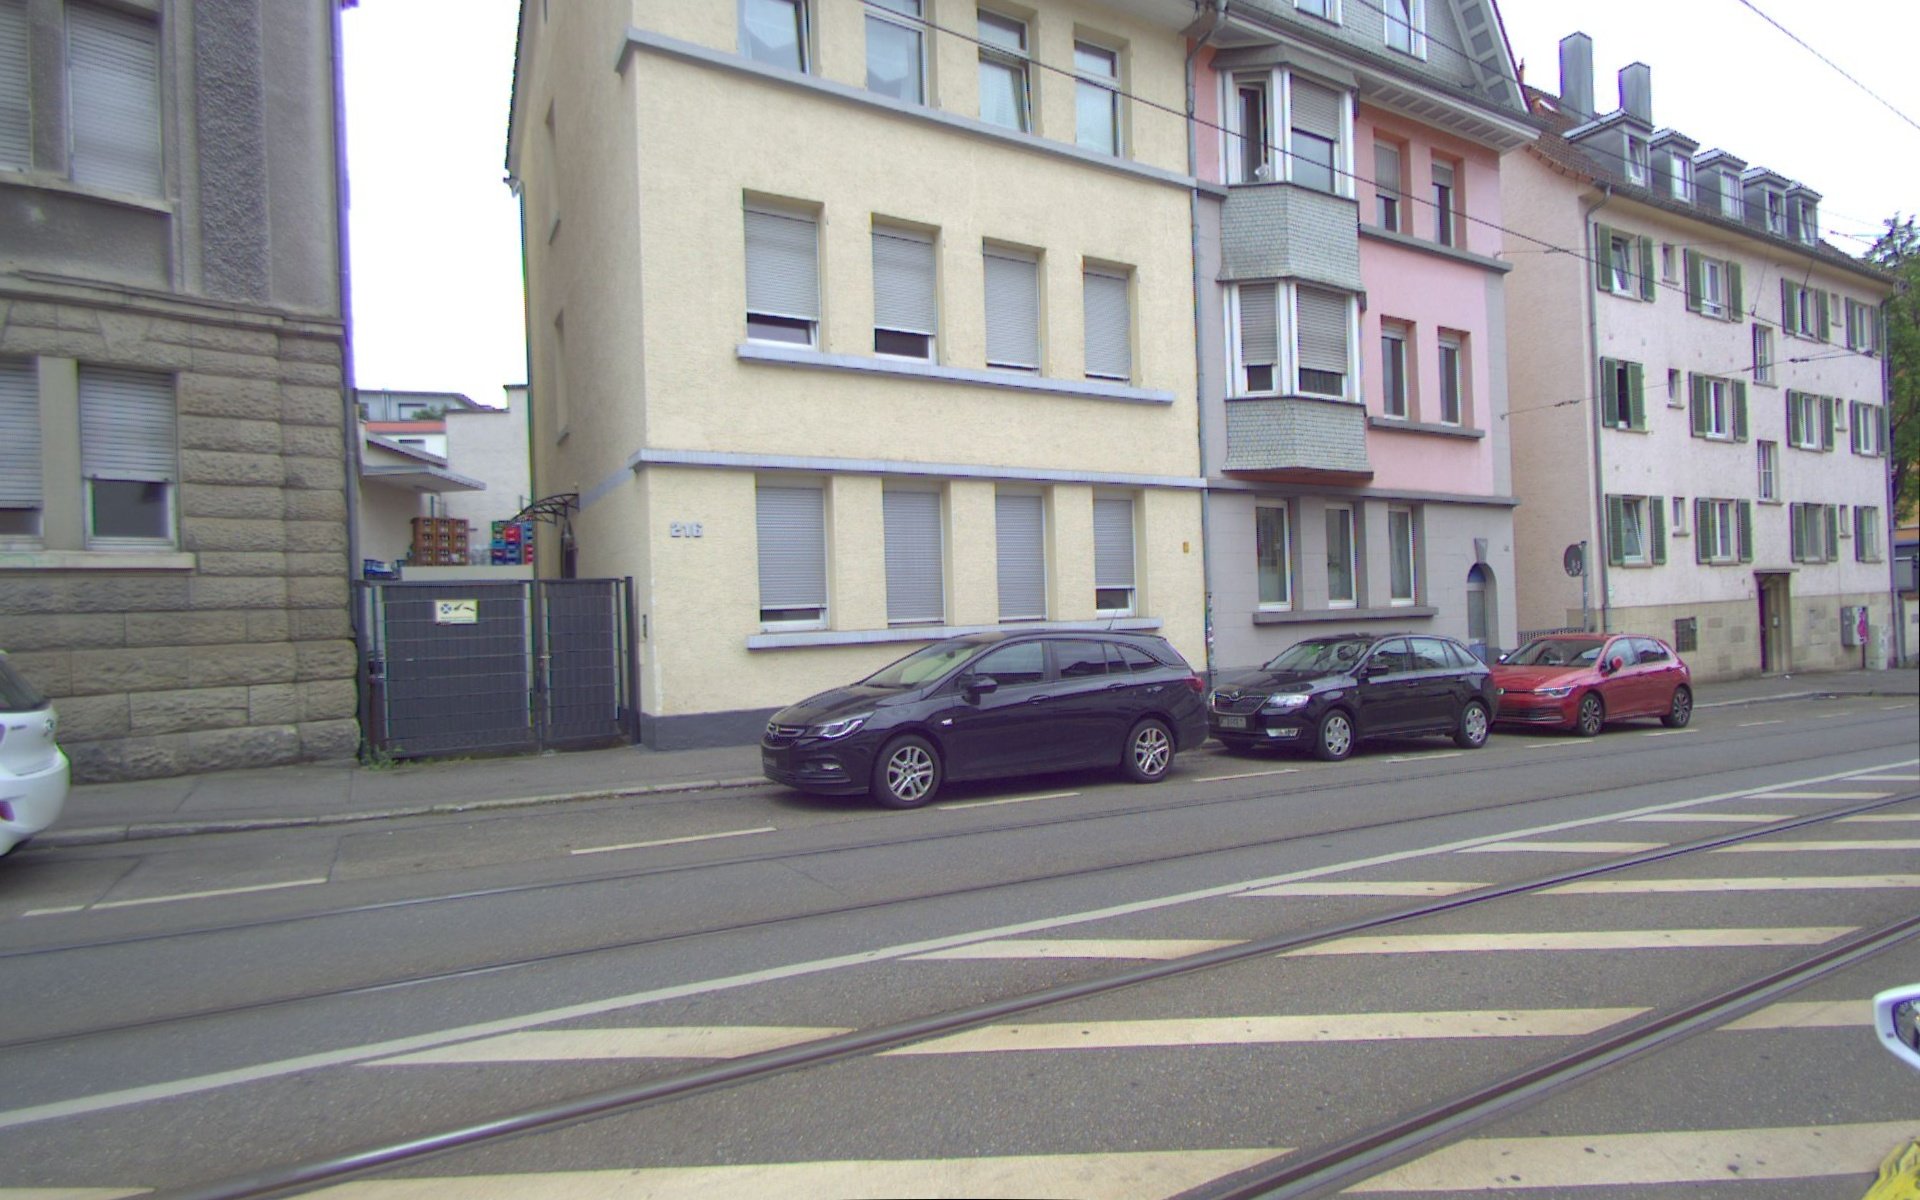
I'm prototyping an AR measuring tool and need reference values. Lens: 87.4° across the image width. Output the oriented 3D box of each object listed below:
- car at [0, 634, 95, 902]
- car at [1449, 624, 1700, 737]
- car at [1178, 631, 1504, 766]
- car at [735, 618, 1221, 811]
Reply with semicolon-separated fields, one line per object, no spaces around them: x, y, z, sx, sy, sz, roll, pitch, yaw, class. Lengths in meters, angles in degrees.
-7.236;0.930;5.388;3.641;1.482;1.613;1;-3;-30;car
9.382;1.156;15.262;4.002;1.510;1.612;1;-3;-32;car
4.807;1.112;12.560;3.953;1.428;1.728;1;-2;-30;car
0.275;0.967;9.655;4.502;1.493;1.613;1;-3;-30;car
